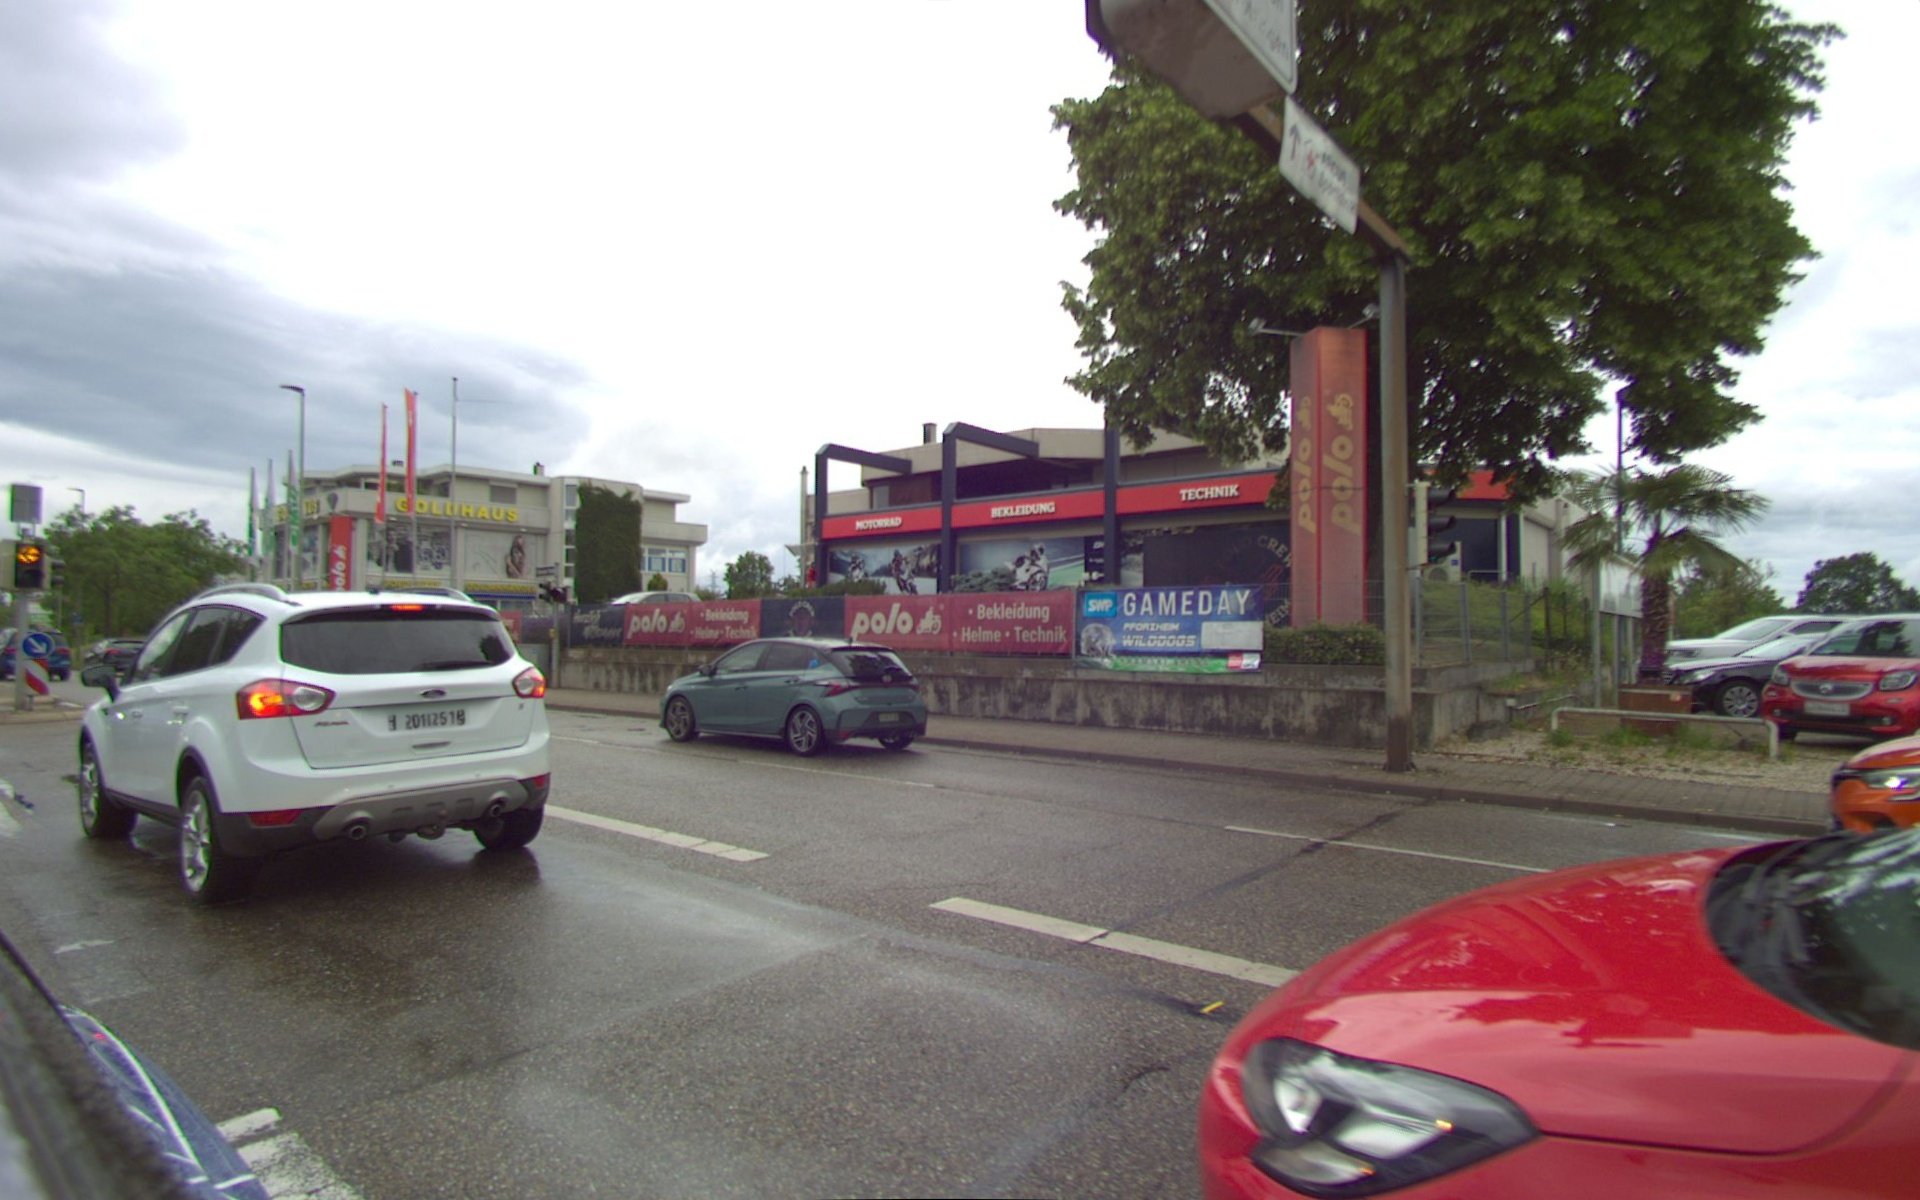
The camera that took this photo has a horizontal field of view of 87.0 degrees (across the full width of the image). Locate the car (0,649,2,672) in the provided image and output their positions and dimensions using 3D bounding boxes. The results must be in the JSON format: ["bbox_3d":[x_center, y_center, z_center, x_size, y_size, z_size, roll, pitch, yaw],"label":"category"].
[{"bbox_3d":[-81.714,5.124,84.360,4.542,1.905,2.319,-5,-5,41],"label":"car"}]

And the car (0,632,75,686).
[{"bbox_3d":[-30.452,1.899,32.943,4.294,1.662,1.820,-2,-4,40],"label":"car"}]

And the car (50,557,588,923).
[{"bbox_3d":[-4.424,0.713,6.708,4.294,1.662,1.820,-2,-3,40],"label":"car"}]

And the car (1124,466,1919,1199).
[{"bbox_3d":[2.333,0.581,0.742,4.142,1.444,1.615,0,1,41],"label":"car"}]

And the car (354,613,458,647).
[{"bbox_3d":[-22.082,1.201,40.442,1.452,1.287,3.352,-3,-3,39],"label":"car"}]

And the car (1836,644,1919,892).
[{"bbox_3d":[6.998,0.893,5.022,3.943,1.342,1.606,-2,-4,41],"label":"car"}]

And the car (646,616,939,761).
[{"bbox_3d":[-2.300,1.093,13.347,3.998,1.630,1.658,-3,-4,41],"label":"car"}]

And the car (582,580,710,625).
[{"bbox_3d":[-9.112,0.122,29.589,1.452,1.176,3.352,-3,-3,39],"label":"car"}]

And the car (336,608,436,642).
[{"bbox_3d":[-23.915,1.048,42.227,1.454,1.347,3.349,-3,-3,42],"label":"car"}]

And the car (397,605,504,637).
[{"bbox_3d":[-19.451,0.825,38.718,1.452,1.176,3.352,-3,-3,39],"label":"car"}]

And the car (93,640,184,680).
[{"bbox_3d":[-30.322,2.204,37.308,4.123,1.390,1.897,-2,-4,41],"label":"car"}]

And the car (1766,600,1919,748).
[{"bbox_3d":[11.254,0.815,11.490,3.555,1.515,1.671,2,-2,-20],"label":"car"}]
